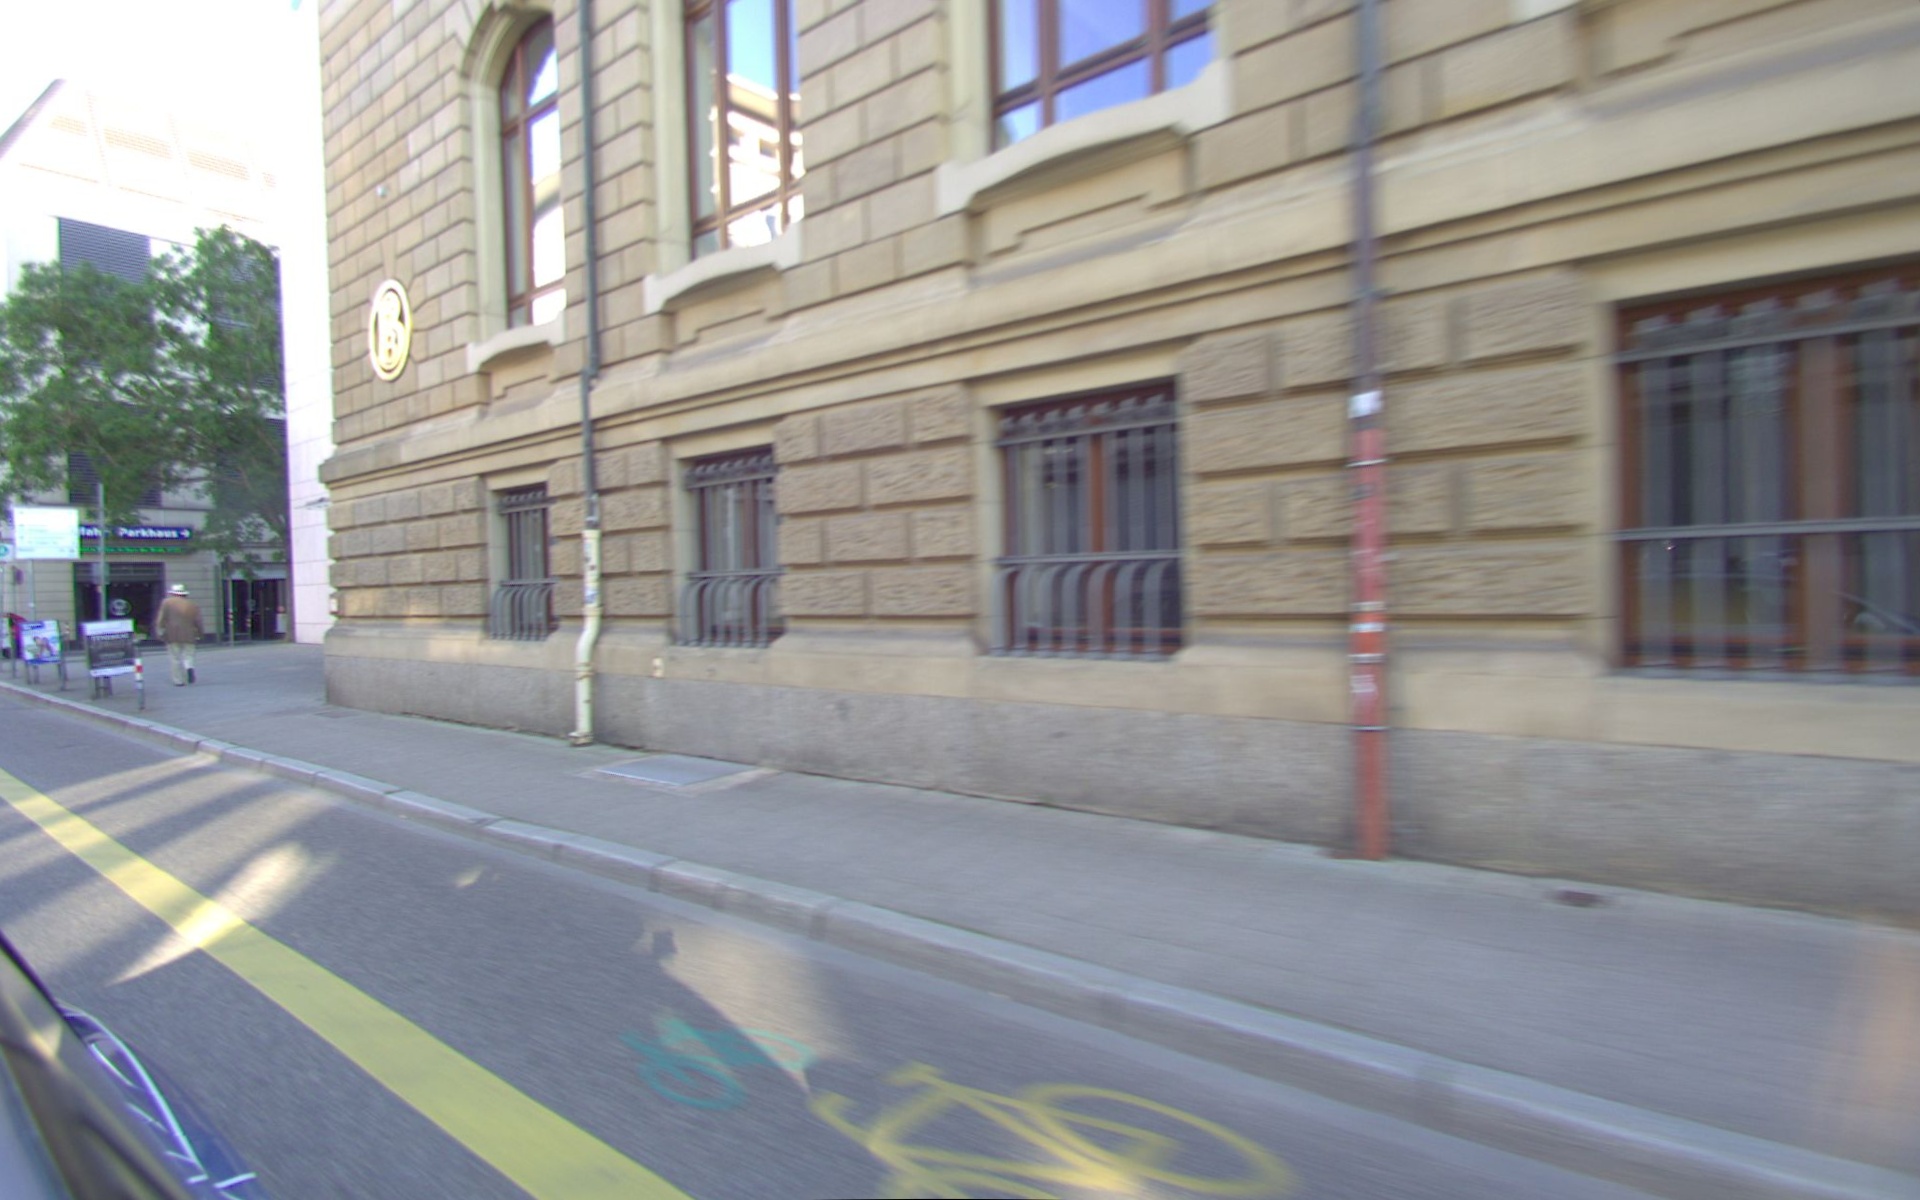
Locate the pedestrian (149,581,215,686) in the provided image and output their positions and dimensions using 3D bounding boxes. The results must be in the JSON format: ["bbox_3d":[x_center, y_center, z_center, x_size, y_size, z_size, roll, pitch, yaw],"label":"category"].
[{"bbox_3d":[-13.706,0.574,17.823,0.622,1.793,0.755,-1,1,41],"label":"pedestrian"}]

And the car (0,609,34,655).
[{"bbox_3d":[-33.102,1.119,32.803,1.625,1.482,4.232,-2,1,27],"label":"car"}]
